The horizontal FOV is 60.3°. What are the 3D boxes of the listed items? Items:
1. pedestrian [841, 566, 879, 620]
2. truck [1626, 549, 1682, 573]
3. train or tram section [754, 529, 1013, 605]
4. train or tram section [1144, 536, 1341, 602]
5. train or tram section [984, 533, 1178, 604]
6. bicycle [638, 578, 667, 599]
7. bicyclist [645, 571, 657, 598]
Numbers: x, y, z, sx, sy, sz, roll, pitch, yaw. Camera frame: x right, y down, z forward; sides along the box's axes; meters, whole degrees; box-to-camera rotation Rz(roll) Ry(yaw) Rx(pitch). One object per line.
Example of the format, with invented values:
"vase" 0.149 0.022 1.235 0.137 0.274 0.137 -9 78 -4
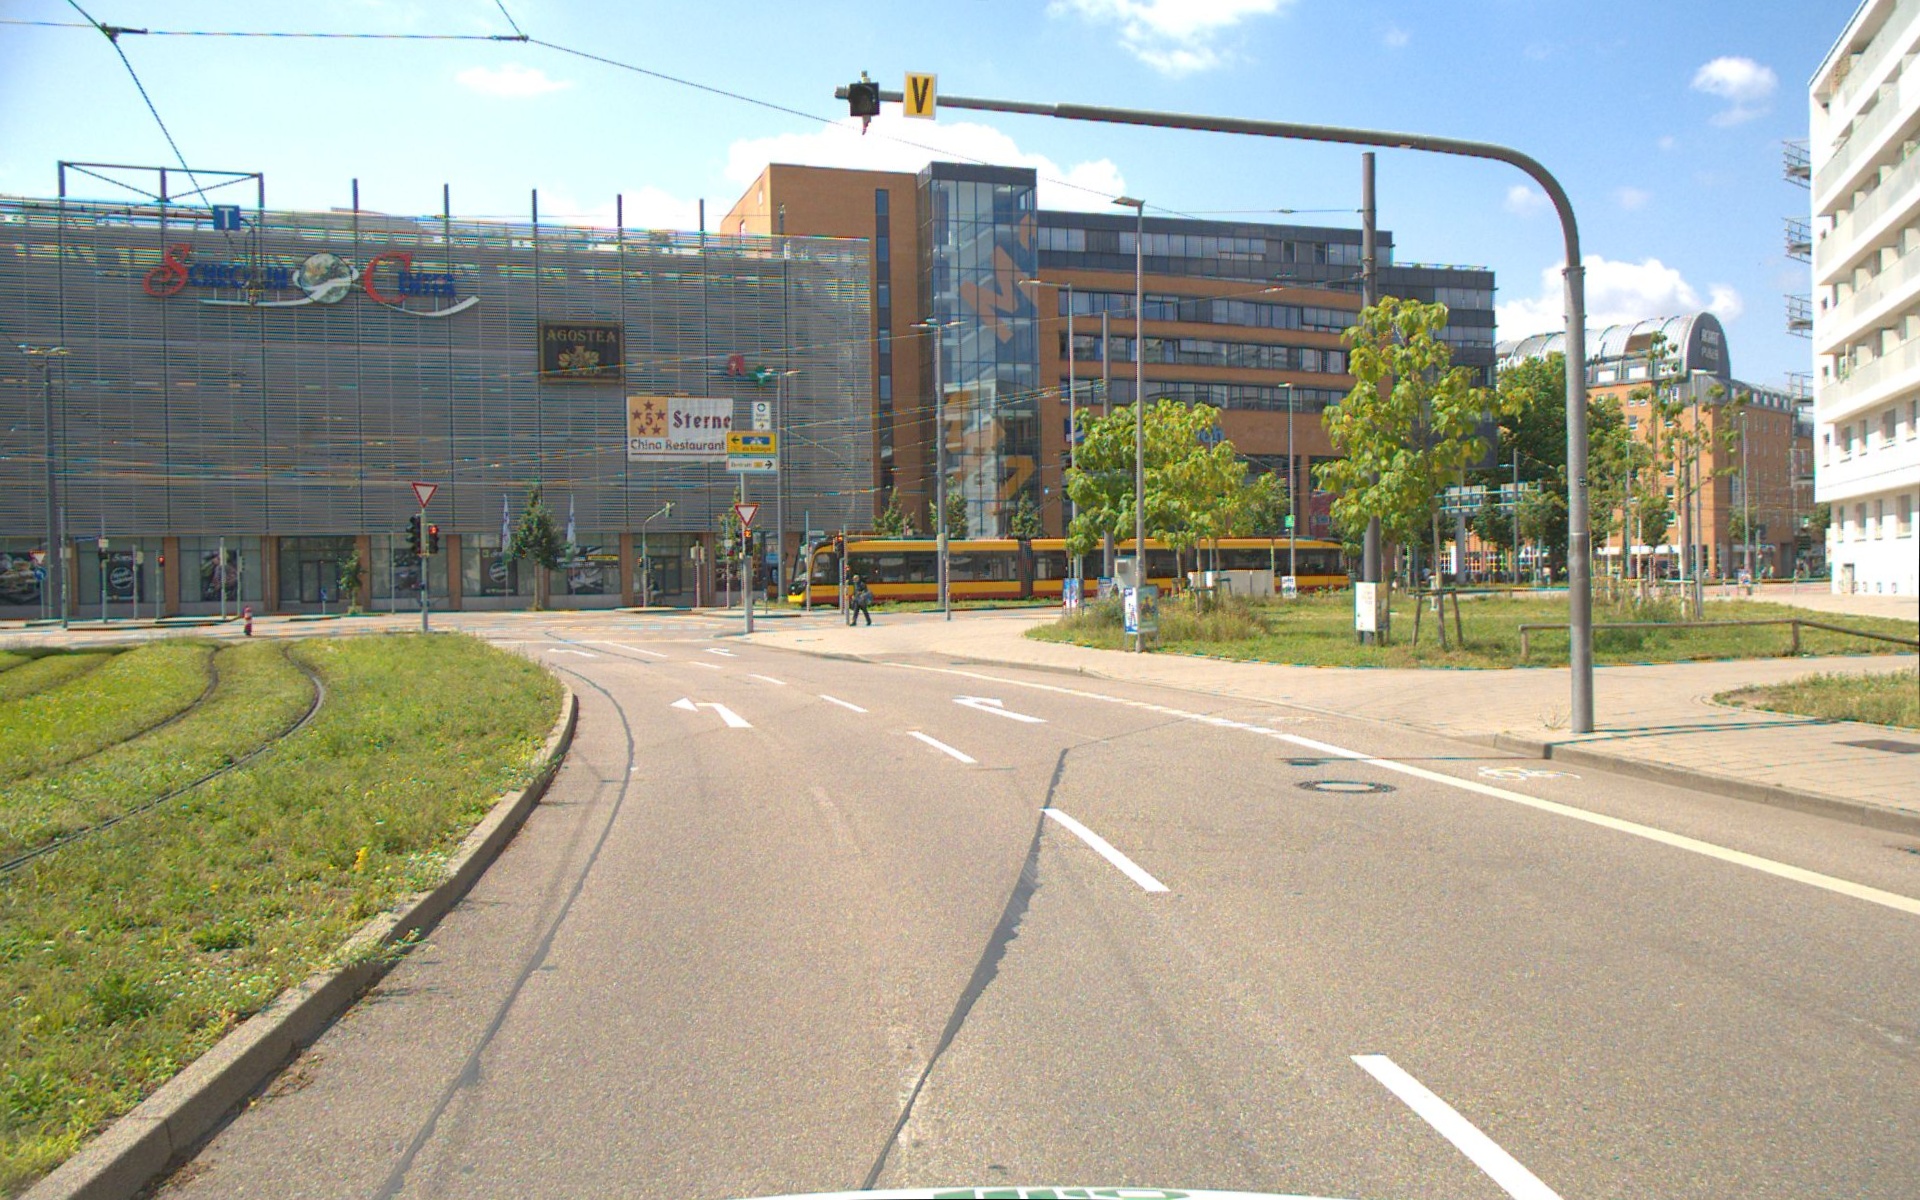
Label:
"pedestrian" -3.312 -0.240 54.553 0.902 1.732 0.804 -2 1 42
"truck" 63.287 -3.507 150.962 1.959 2.122 5.506 0 1 -12
"train or tram section" -3.746 -1.646 84.175 13.314 3.662 3.194 0 1 -30
"train or tram section" 16.592 -1.779 96.499 12.467 3.684 3.033 0 1 -31
"train or tram section" 6.696 -1.695 90.357 10.843 3.666 3.034 0 1 -31
"bicycle" -18.855 -0.713 101.395 1.733 1.245 0.581 0 0 -19
"bicyclist" -18.929 -0.926 101.380 0.652 1.652 0.548 0 0 -19
